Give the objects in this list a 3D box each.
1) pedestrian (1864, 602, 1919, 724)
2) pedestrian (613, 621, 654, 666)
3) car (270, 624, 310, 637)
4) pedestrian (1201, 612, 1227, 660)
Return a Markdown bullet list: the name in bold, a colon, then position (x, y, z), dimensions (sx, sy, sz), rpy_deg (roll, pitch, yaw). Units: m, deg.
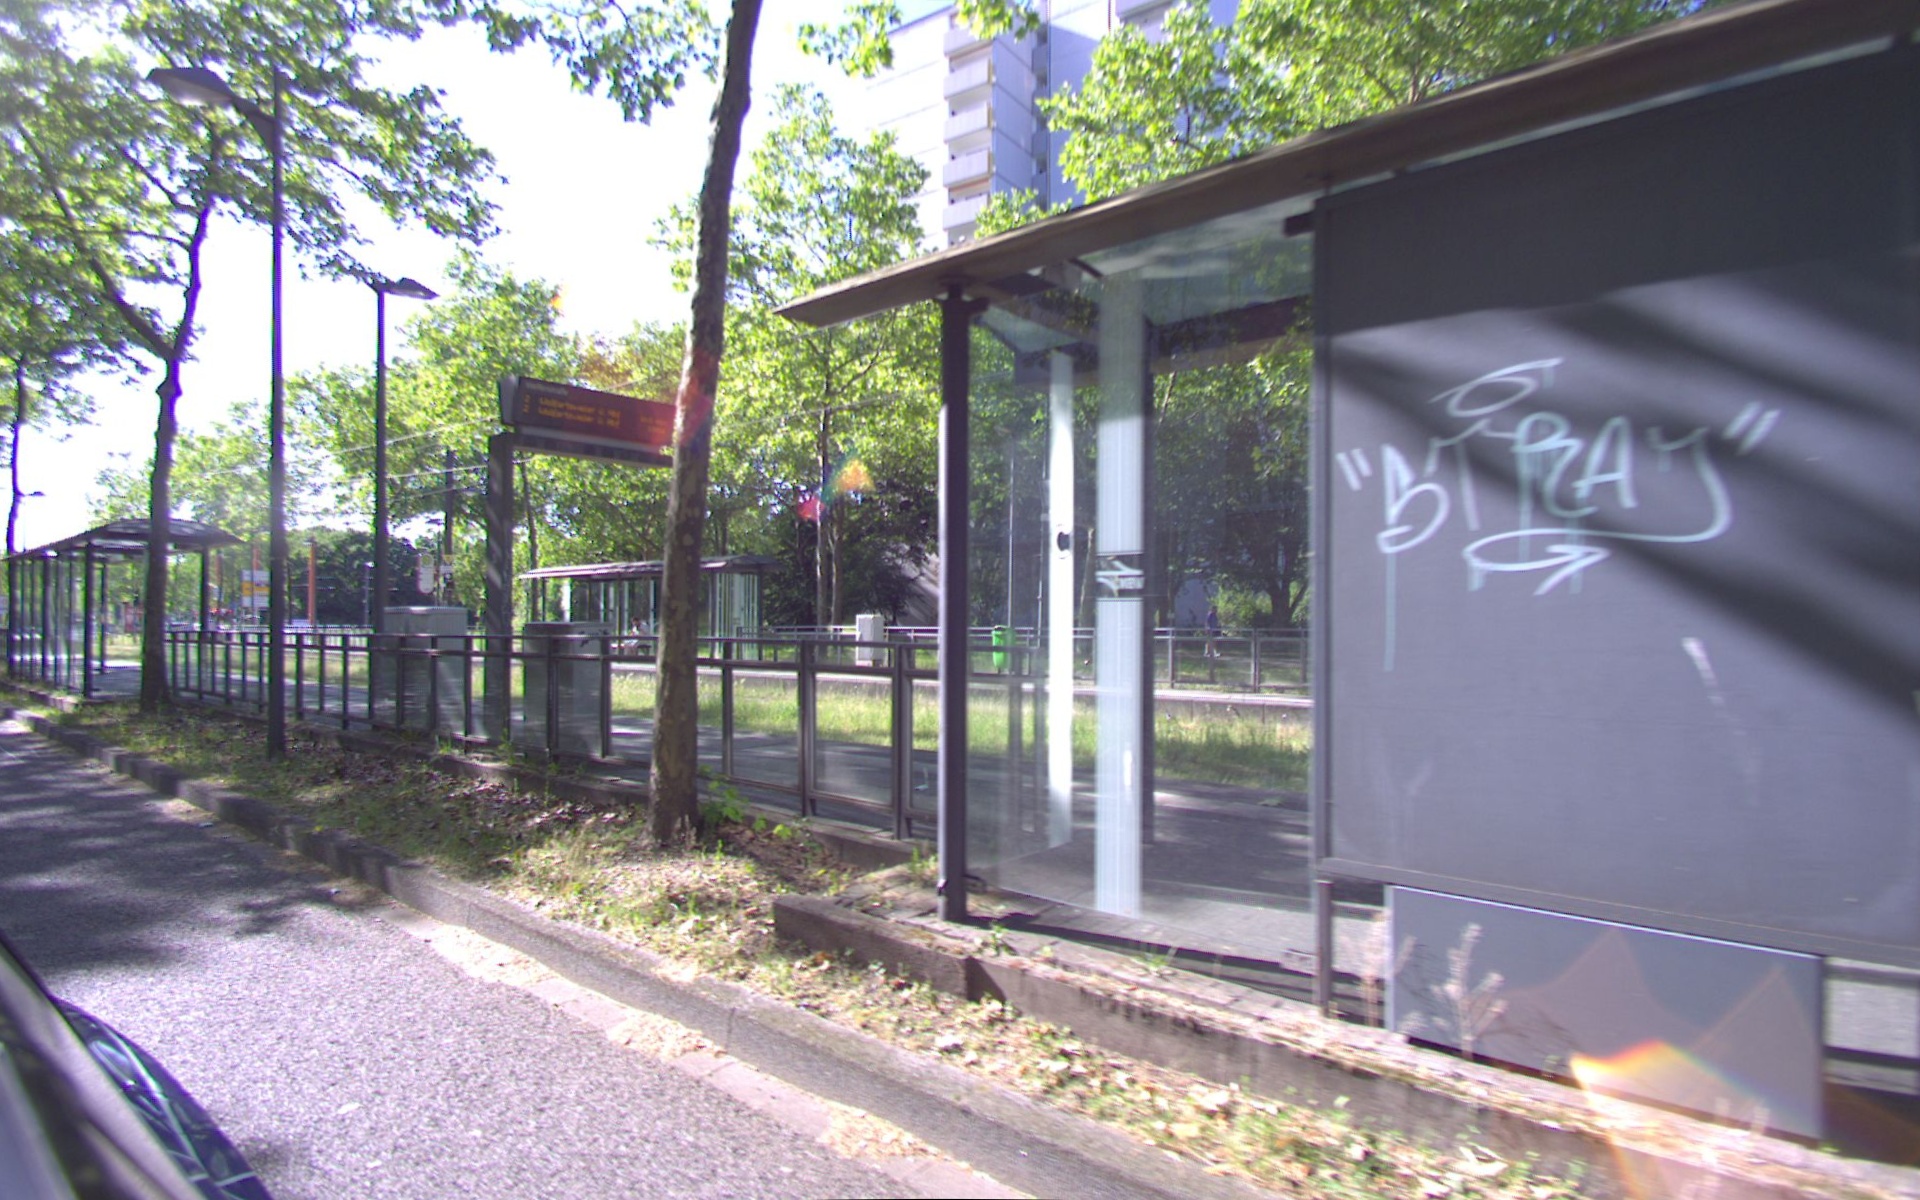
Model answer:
- **pedestrian**: position (10.090, 0.653, 10.707), dimensions (0.721, 1.247, 0.770), rpy_deg (-2, -2, 39)
- **pedestrian**: position (-8.724, 1.165, 27.044), dimensions (0.762, 1.192, 0.758), rpy_deg (-2, -4, 41)
- **car**: position (-84.407, 3.845, 127.556), dimensions (3.930, 1.522, 1.806), rpy_deg (0, -2, -23)
- **pedestrian**: position (8.908, 1.258, 35.448), dimensions (0.650, 1.674, 0.641), rpy_deg (-2, -2, 41)
